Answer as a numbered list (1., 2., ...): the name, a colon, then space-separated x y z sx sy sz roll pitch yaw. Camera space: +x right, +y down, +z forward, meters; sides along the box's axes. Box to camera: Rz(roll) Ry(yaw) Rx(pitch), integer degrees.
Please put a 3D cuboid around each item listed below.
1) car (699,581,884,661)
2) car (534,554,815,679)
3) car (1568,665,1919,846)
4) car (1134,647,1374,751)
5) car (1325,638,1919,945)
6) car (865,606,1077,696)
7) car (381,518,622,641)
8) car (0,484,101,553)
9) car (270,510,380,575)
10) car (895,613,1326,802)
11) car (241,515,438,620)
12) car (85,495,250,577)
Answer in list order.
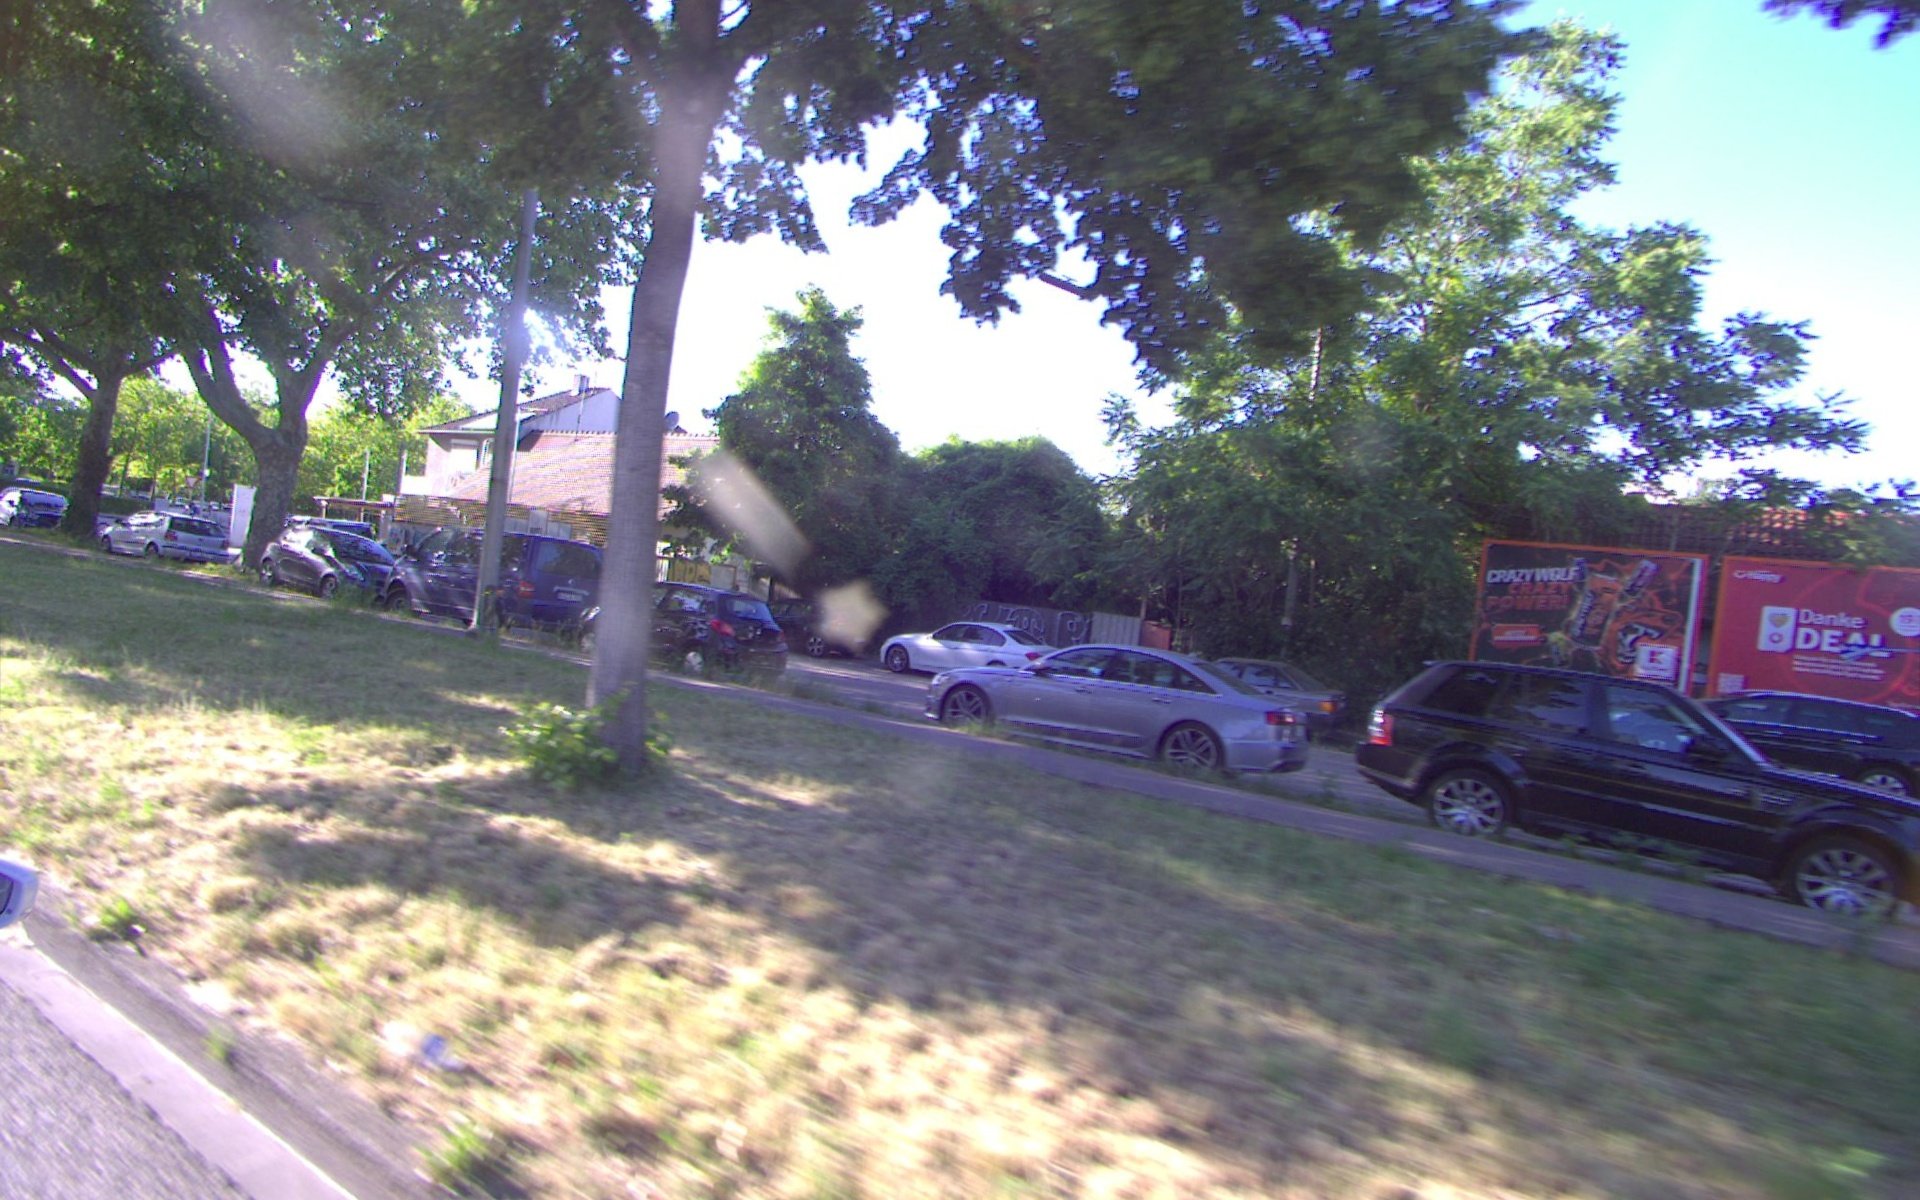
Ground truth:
1. car: -4.537 0.552 26.873 4.610 1.566 1.873 7 1 29
2. car: -4.512 0.257 15.866 3.930 1.383 1.877 7 -2 27
3. car: 12.575 2.358 16.090 4.610 2.028 1.873 7 1 29
4. car: 5.860 1.896 20.220 4.241 1.389 1.732 6 2 32
5. car: 6.223 1.617 9.487 4.811 1.841 1.875 7 -2 31
6. car: 0.227 1.154 23.959 4.610 1.502 1.873 7 1 29
7. car: -8.513 -0.384 18.658 3.930 1.703 1.877 7 -2 27
8. car: -29.302 -2.632 31.693 3.929 1.703 1.877 7 -2 26
9. car: -24.141 -2.182 38.216 3.935 2.039 1.994 6 1 33
10. car: 1.806 1.227 12.462 4.816 1.450 1.877 7 -2 27
11. car: -13.315 -0.702 21.562 3.933 1.703 1.875 7 -2 31
12. car: -21.231 -1.707 26.939 3.929 1.705 1.875 7 1 26
